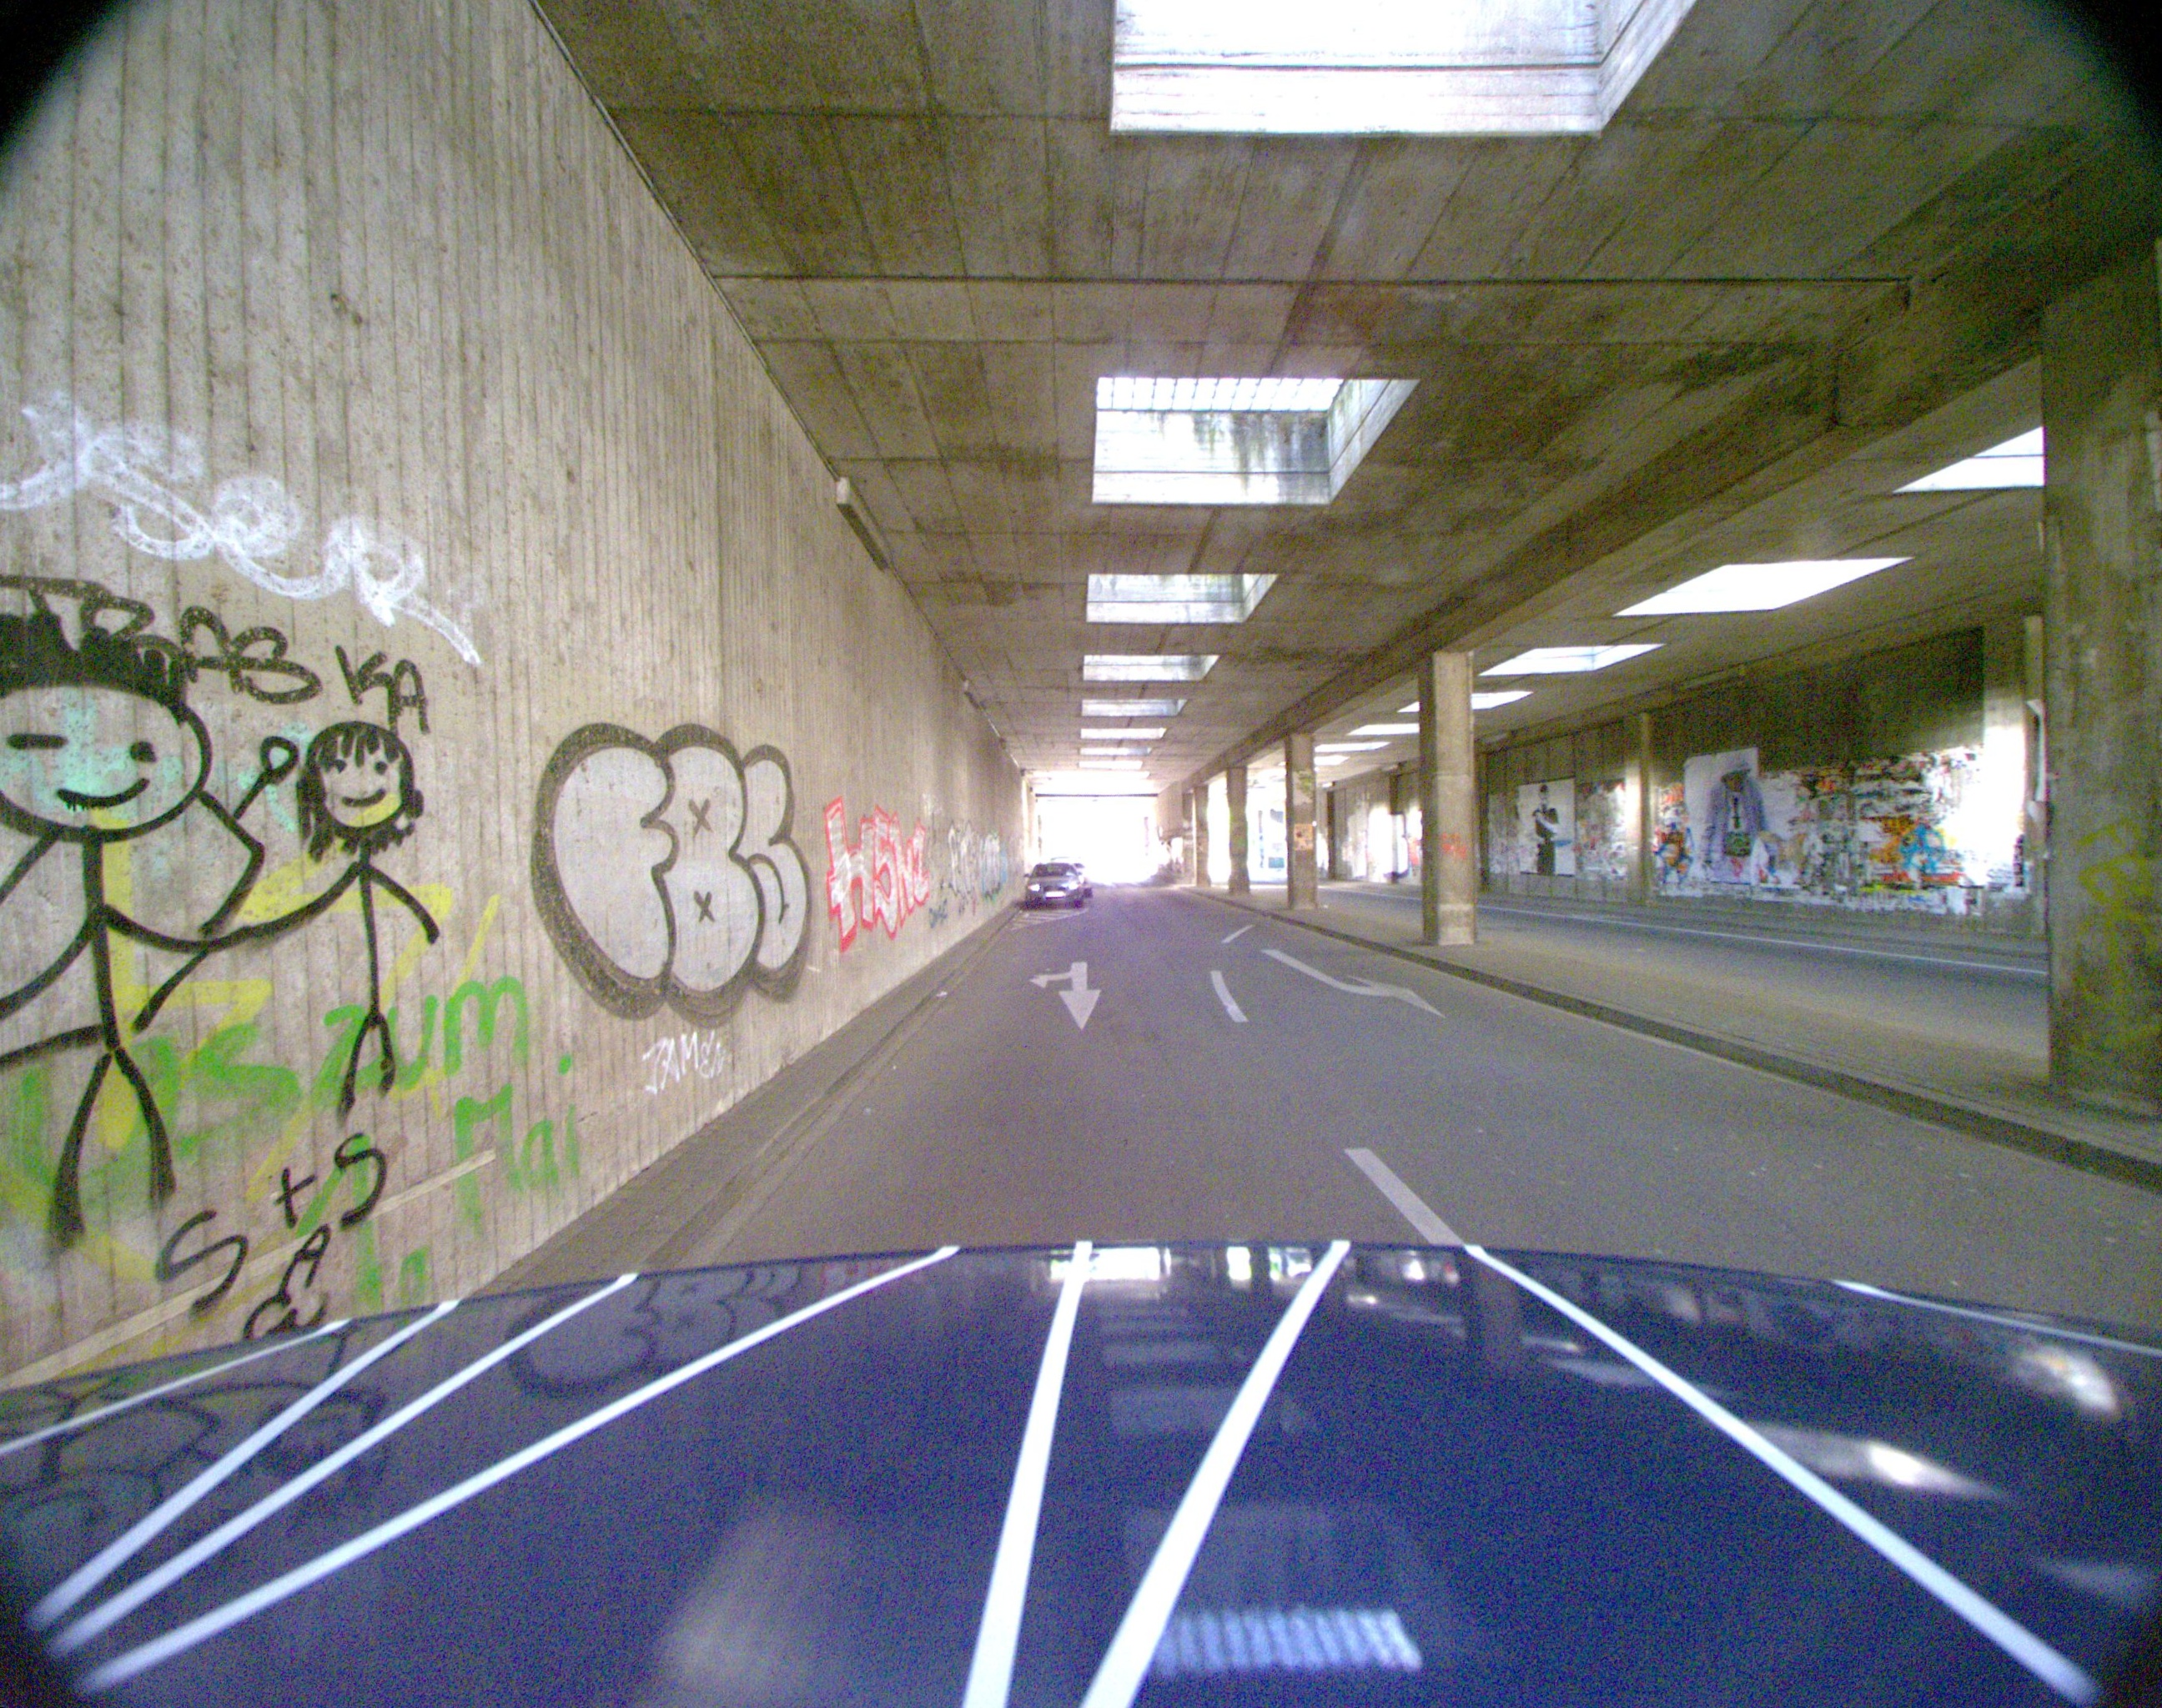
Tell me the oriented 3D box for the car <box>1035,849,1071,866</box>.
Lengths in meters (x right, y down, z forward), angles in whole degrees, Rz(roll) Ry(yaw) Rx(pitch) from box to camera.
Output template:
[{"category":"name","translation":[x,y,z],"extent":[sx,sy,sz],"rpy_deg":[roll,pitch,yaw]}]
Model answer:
[{"category":"car","translation":[-3.117,0.381,84.209],"extent":[3.998,1.841,1.811],"rpy_deg":[-1,0,-3]}]

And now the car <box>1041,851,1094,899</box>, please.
[{"category":"car","translation":[-0.468,0.766,29.820],"extent":[1.861,1.709,4.000],"rpy_deg":[-2,0,1]}]

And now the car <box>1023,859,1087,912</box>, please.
[{"category":"car","translation":[-0.737,0.922,24.037],"extent":[1.808,1.460,4.000],"rpy_deg":[-2,0,1]}]
